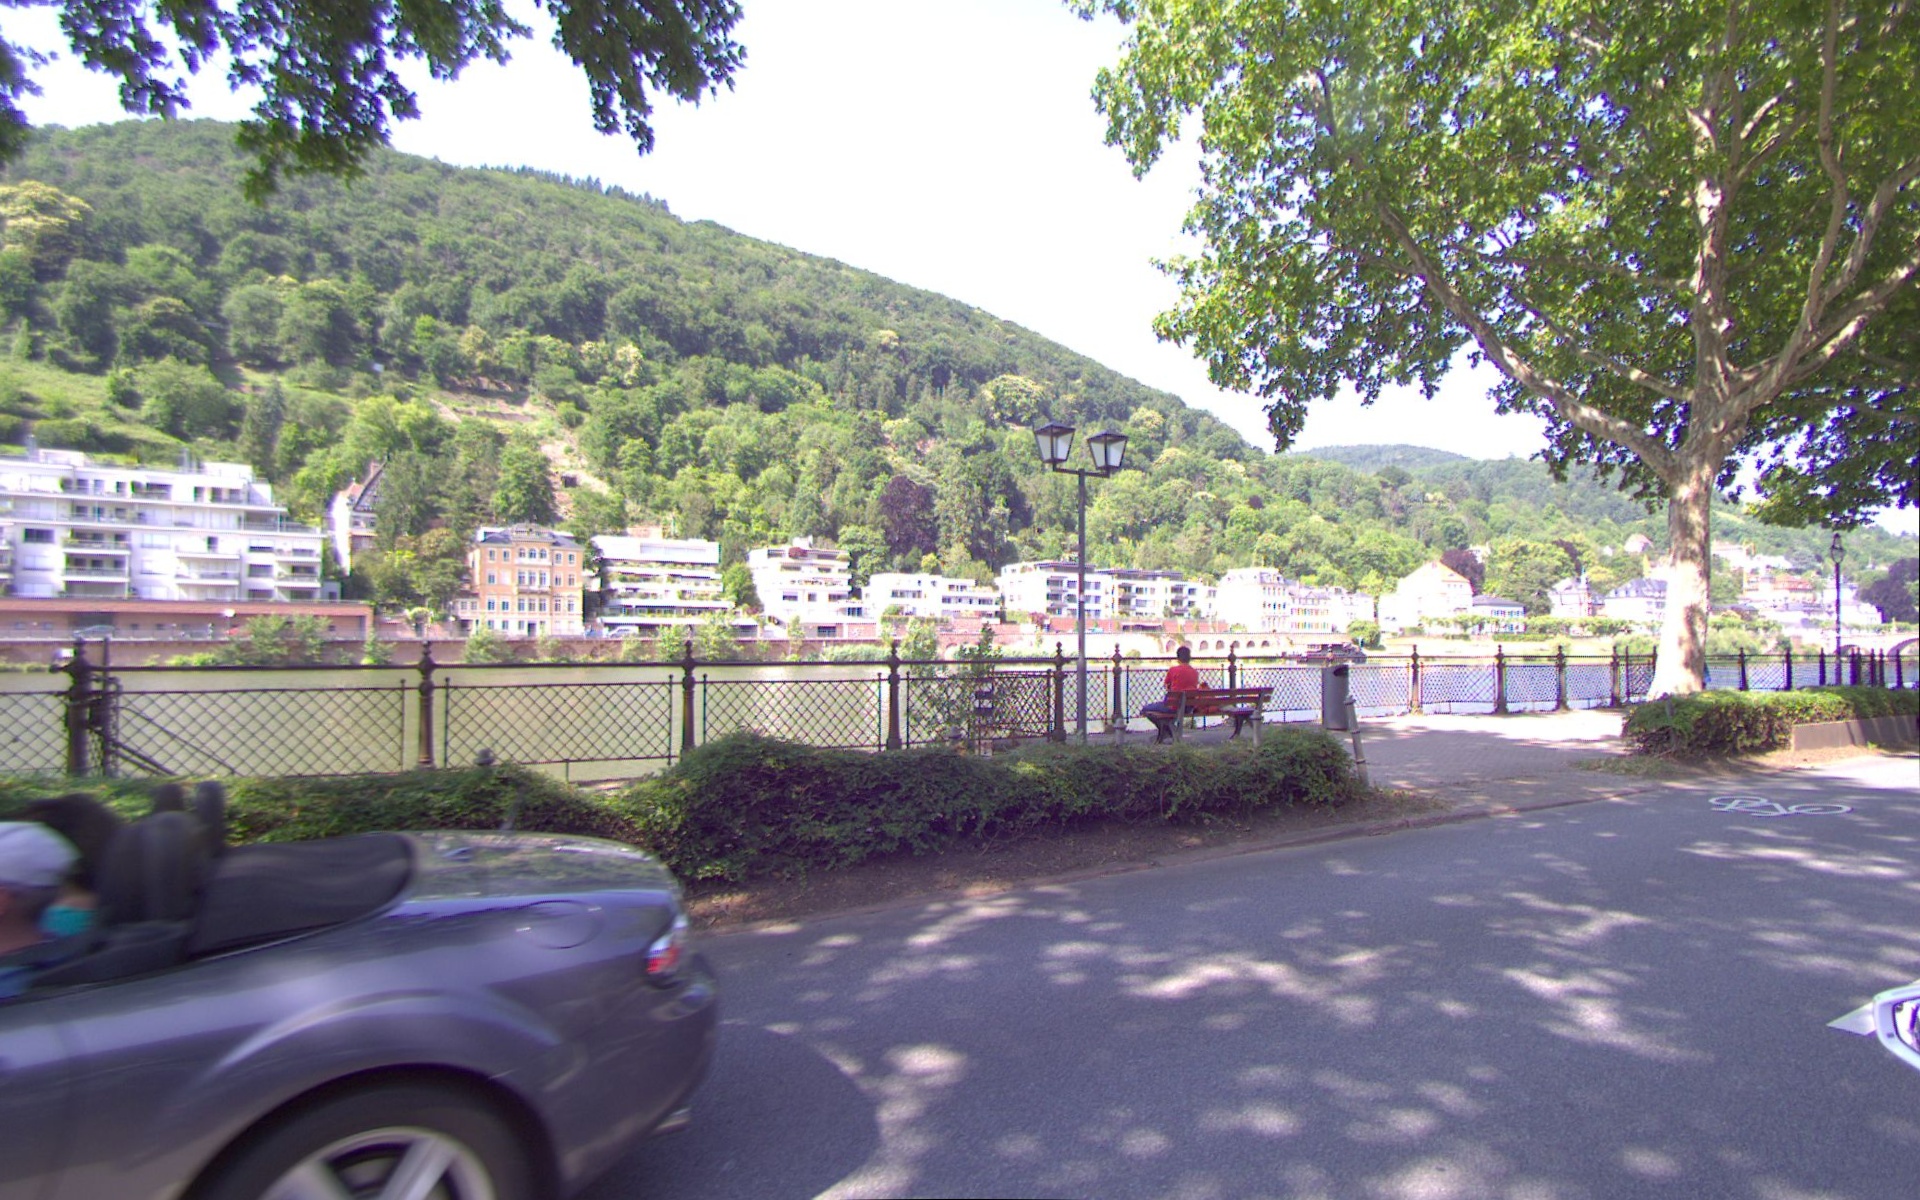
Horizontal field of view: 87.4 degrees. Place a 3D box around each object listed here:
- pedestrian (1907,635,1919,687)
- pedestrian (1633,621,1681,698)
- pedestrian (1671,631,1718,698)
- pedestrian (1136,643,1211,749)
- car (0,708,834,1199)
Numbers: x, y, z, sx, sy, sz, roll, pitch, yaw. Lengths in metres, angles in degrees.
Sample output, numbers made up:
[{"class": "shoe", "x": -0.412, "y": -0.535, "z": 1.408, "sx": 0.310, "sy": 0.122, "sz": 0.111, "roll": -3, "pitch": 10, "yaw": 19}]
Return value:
[{"class": "pedestrian", "x": 32.726, "y": 2.077, "z": 34.210, "sx": 0.399, "sy": 1.733, "sz": 0.581, "roll": 2, "pitch": 0, "yaw": -32}, {"class": "pedestrian", "x": 16.667, "y": 1.414, "z": 24.027, "sx": 0.696, "sy": 1.820, "sz": 0.701, "roll": 2, "pitch": -2, "yaw": -29}, {"class": "pedestrian", "x": 17.983, "y": 1.568, "z": 24.601, "sx": 0.696, "sy": 1.624, "sz": 0.701, "roll": 2, "pitch": -2, "yaw": -29}, {"class": "pedestrian", "x": 2.823, "y": 1.255, "z": 13.315, "sx": 0.649, "sy": 1.325, "sz": 0.699, "roll": 2, "pitch": 0, "yaw": -30}, {"class": "car", "x": -2.193, "y": 0.925, "z": 2.179, "sx": 3.447, "sy": 1.227, "sz": 1.689, "roll": 2, "pitch": -4, "yaw": -32}]
